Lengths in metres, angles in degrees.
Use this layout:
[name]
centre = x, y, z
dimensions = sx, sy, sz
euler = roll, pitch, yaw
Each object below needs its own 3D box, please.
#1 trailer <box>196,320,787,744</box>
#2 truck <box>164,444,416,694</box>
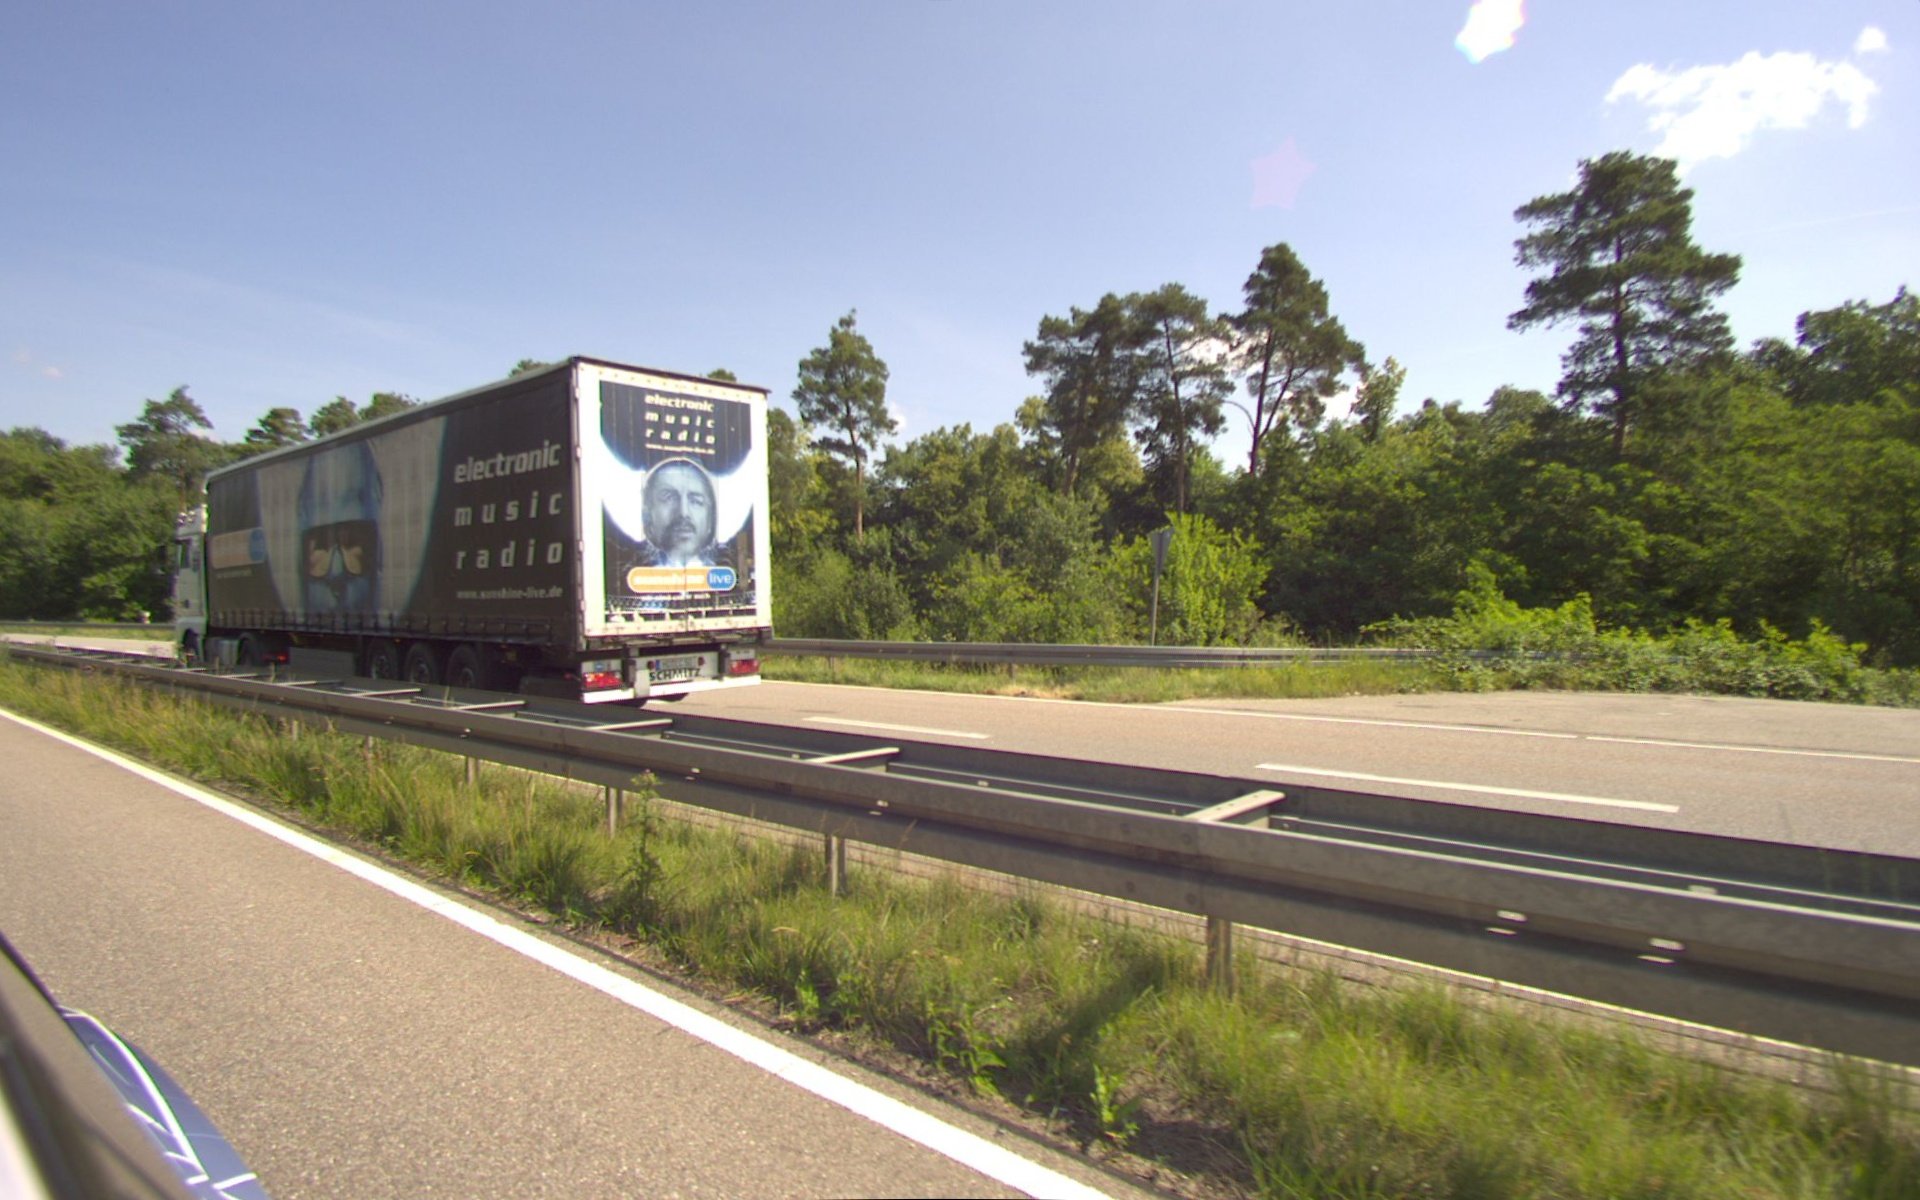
[trailer]
centre = -8.287, -0.589, 15.647
dimensions = 14.053, 4.219, 2.641
euler = -1, 0, 41
[truck]
centre = -13.292, -0.496, 19.912
dimensions = 5.710, 4.219, 2.641
euler = -1, 0, 40
